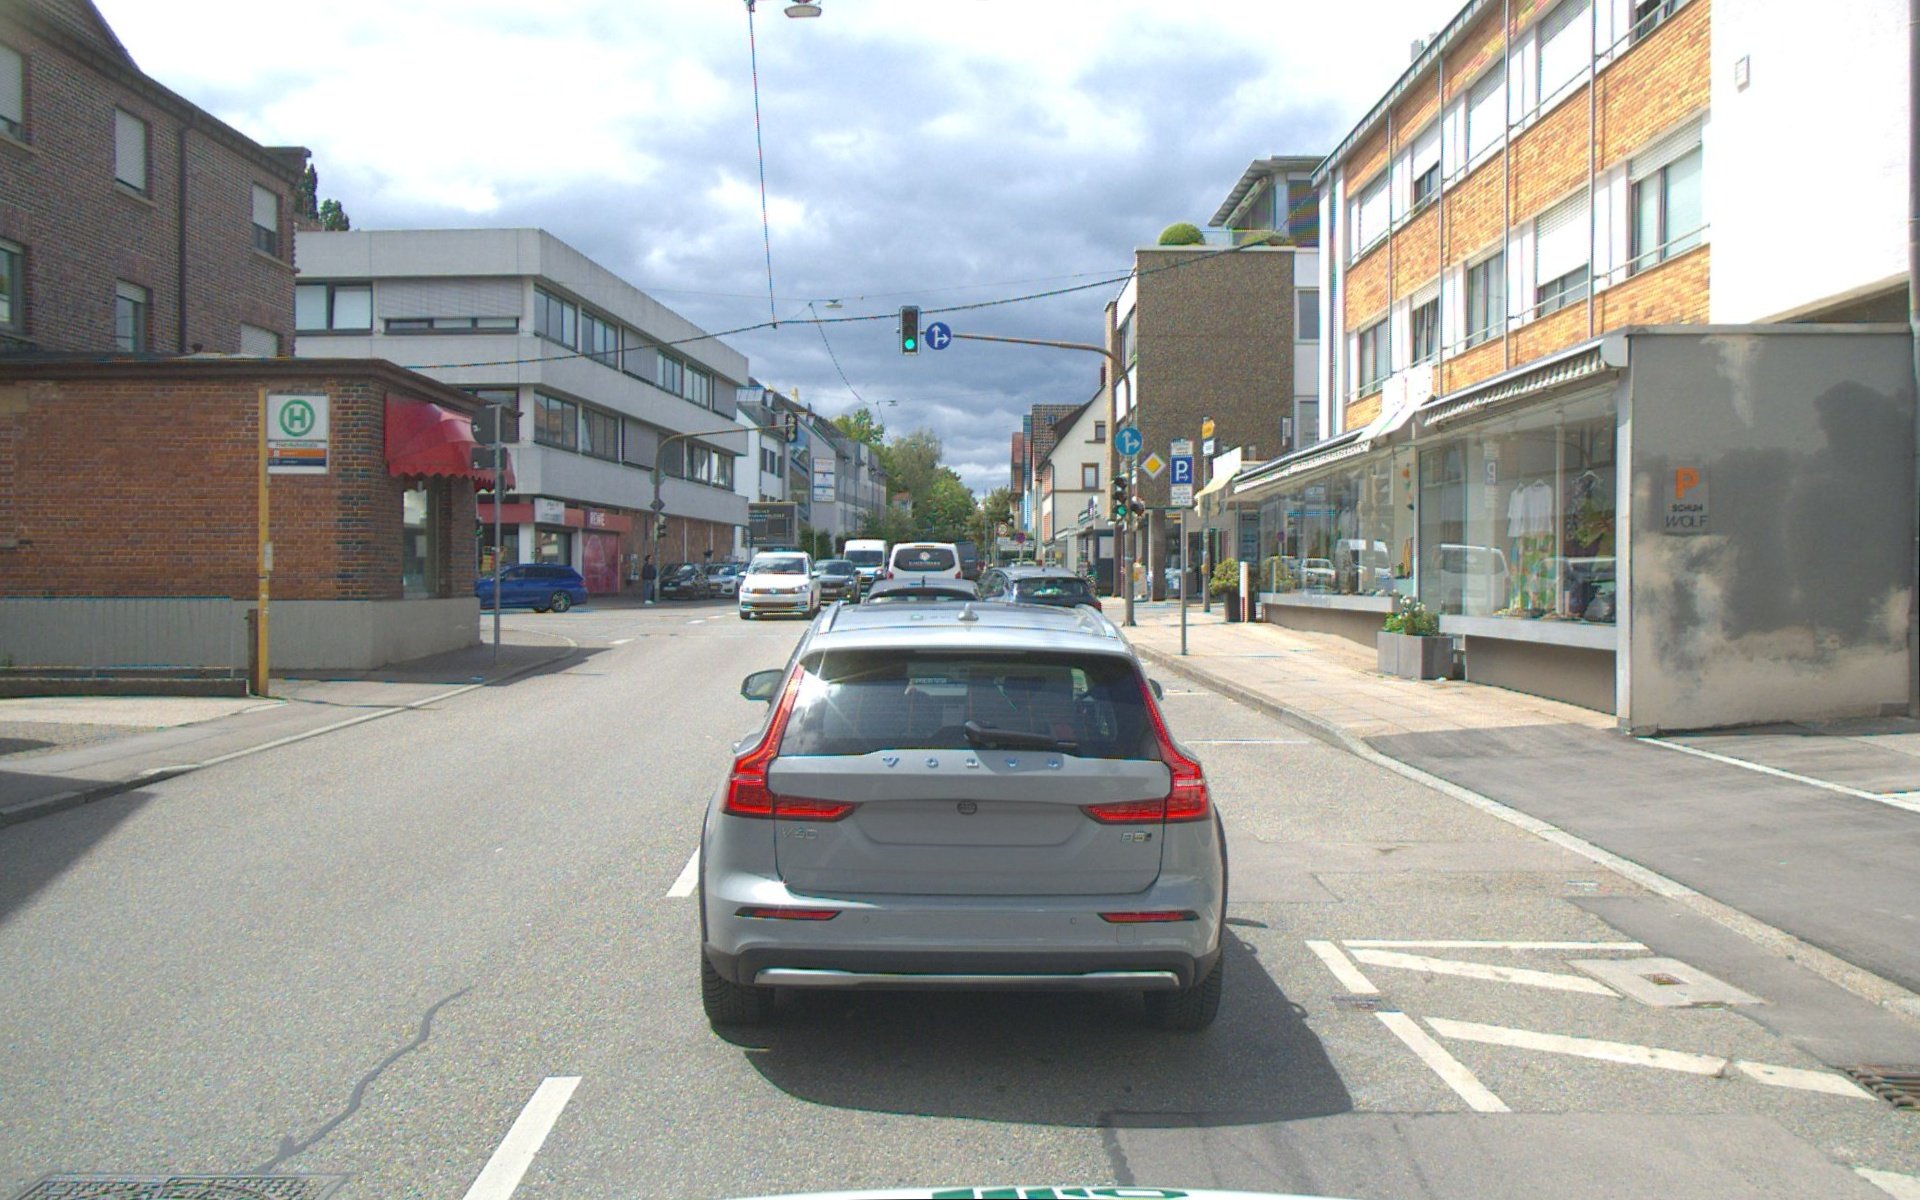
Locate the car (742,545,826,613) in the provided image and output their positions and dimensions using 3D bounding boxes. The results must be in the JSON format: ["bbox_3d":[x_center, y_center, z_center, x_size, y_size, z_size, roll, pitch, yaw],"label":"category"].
[{"bbox_3d":[-4.409,-0.518,41.881,1.739,1.641,4.119,0,0,-1],"label":"car"}]

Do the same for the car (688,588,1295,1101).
[{"bbox_3d":[0.068,0.717,6.900,1.798,1.512,3.999,0,0,-1],"label":"car"}]

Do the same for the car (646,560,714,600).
[{"bbox_3d":[-10.918,-0.800,64.769,1.747,1.490,4.089,1,1,3],"label":"car"}]

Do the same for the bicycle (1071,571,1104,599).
[{"bbox_3d":[5.319,-0.644,69.215,0.546,1.164,2.288,-1,1,-18],"label":"bicycle"}]

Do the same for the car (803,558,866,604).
[{"bbox_3d":[-4.337,-0.664,57.617,1.753,1.537,3.846,0,0,2],"label":"car"}]

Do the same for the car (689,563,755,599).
[{"bbox_3d":[-10.099,-0.831,70.536,1.864,1.468,4.446,1,1,4],"label":"car"}]

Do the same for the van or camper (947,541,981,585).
[{"bbox_3d":[0.272,-2.366,105.716,2.080,2.733,4.782,-1,1,0],"label":"van or camper"}]

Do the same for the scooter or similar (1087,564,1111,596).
[{"bbox_3d":[5.534,-0.791,65.971,0.336,1.275,1.235,-3,1,-26],"label":"scooter or similar"}]

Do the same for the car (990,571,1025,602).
[{"bbox_3d":[2.098,-0.606,73.924,1.409,1.310,3.247,0,0,-1],"label":"car"}]

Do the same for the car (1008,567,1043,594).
[{"bbox_3d":[3.731,-1.087,94.474,1.676,1.490,3.998,1,0,-2],"label":"car"}]

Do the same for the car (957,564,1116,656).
[{"bbox_3d":[1.152,0.136,26.704,1.775,1.370,3.709,0,0,-11],"label":"car"}]

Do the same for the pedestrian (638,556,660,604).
[{"bbox_3d":[-10.848,-0.704,57.710,0.606,1.670,0.660,-1,1,1],"label":"pedestrian"}]

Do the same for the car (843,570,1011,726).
[{"bbox_3d":[-0.346,0.448,17.957,1.617,1.508,3.607,1,1,-1],"label":"car"}]

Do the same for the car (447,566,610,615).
[{"bbox_3d":[-12.907,-0.320,49.568,4.310,1.361,1.974,-2,1,-37],"label":"car"}]

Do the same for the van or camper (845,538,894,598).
[{"bbox_3d":[-4.093,-1.517,75.803,2.105,2.600,5.436,-1,2,-2],"label":"van or camper"}]

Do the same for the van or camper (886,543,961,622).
[{"bbox_3d":[-0.900,-0.379,41.251,1.782,1.867,3.999,0,-1,-1],"label":"van or camper"}]
